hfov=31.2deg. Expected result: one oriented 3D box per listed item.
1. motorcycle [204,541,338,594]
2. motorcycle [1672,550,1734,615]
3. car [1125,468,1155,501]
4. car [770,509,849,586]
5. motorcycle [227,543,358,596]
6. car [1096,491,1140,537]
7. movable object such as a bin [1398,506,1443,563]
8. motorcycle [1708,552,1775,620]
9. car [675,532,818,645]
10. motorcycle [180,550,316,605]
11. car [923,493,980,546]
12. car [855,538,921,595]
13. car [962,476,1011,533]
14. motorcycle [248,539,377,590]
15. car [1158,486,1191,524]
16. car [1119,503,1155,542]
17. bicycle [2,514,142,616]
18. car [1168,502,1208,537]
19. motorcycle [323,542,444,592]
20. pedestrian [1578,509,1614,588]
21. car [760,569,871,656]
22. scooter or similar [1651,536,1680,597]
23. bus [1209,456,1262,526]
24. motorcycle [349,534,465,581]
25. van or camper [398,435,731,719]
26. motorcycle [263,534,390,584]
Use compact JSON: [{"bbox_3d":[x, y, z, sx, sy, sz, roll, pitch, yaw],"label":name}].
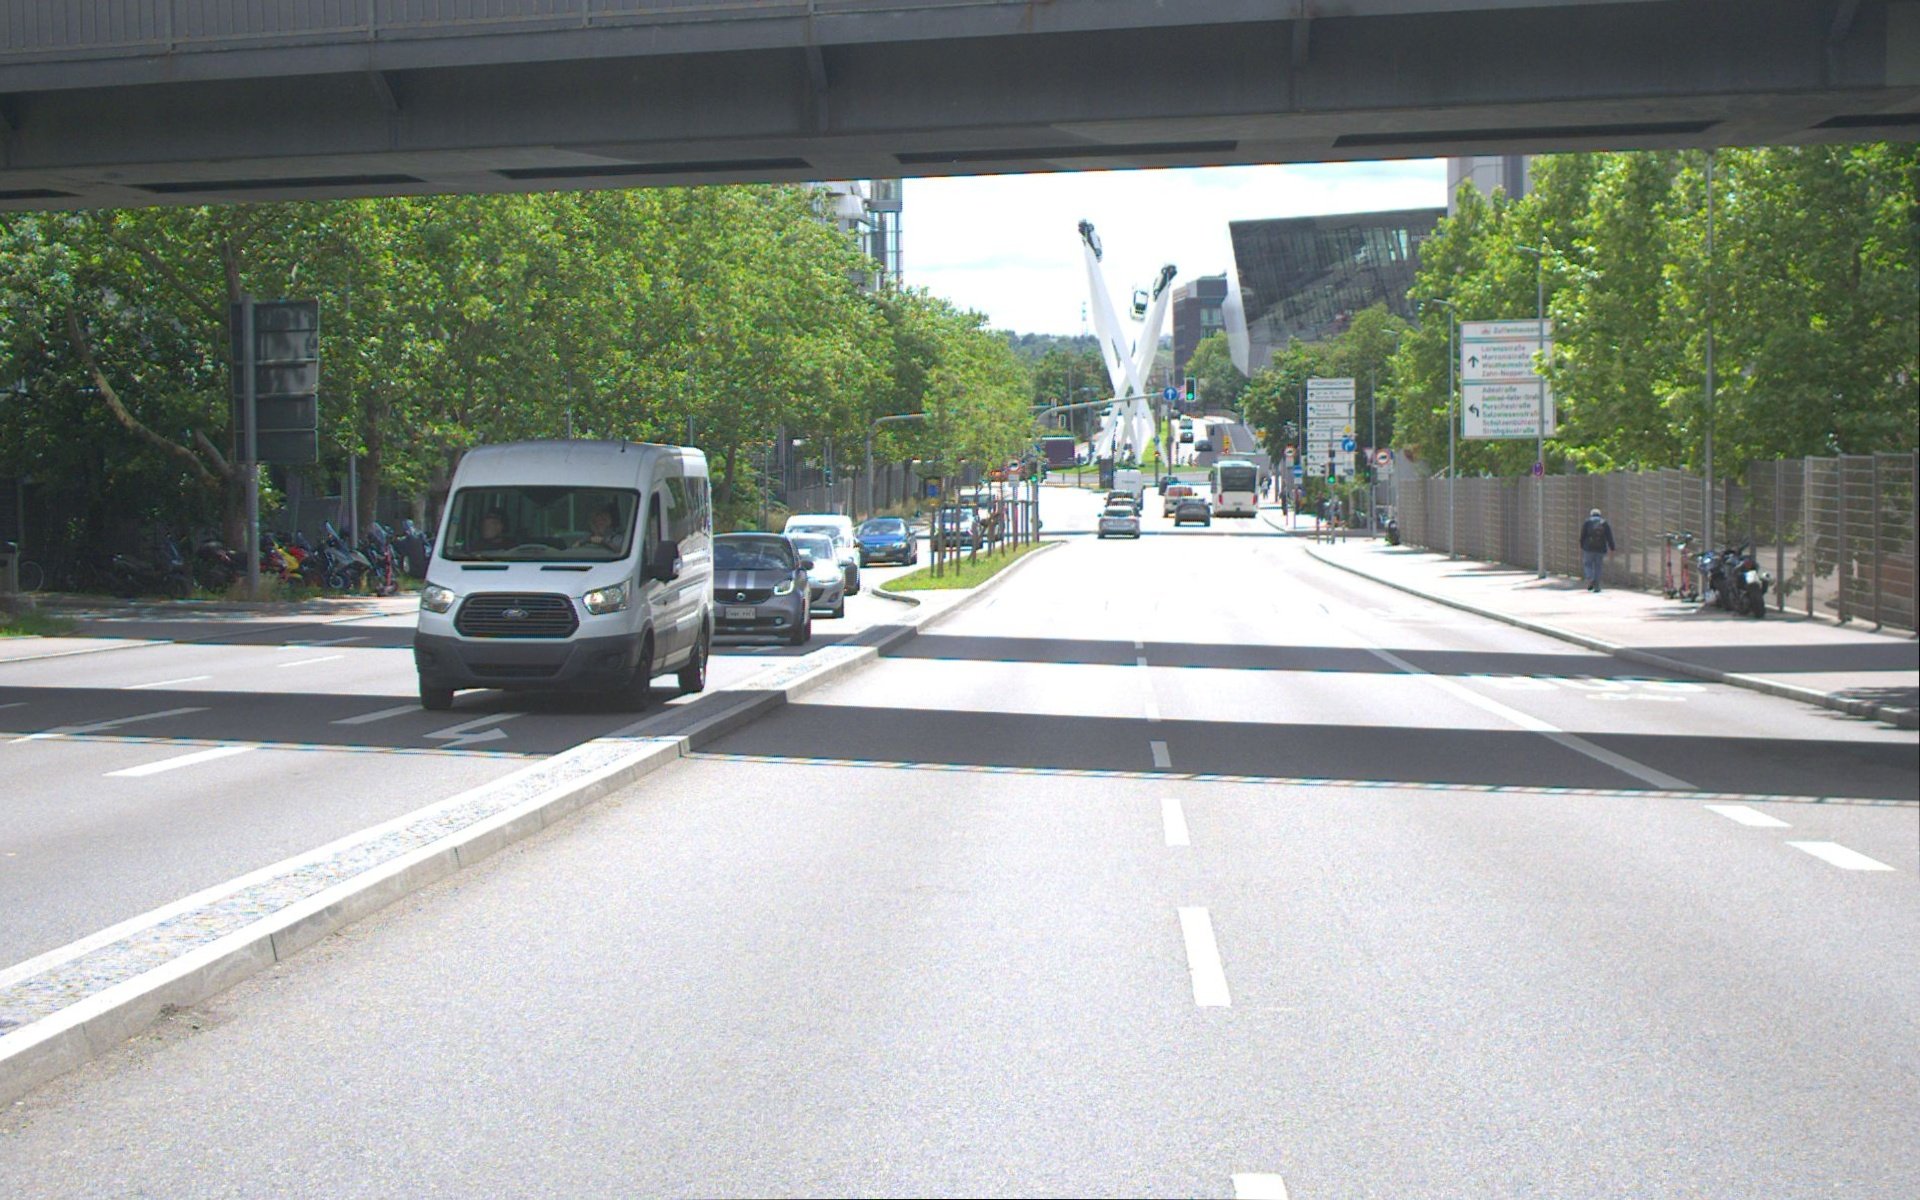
[{"bbox_3d":[-13.806,-0.647,68.905,2.553,1.047,0.674,0,1,9],"label":"motorcycle"},{"bbox_3d":[12.818,-0.310,59.379,0.563,1.025,2.629,-2,2,2],"label":"motorcycle"},{"bbox_3d":[11.906,-7.657,227.838,1.874,2.006,3.694,0,5,2],"label":"car"},{"bbox_3d":[-3.395,-1.204,78.226,1.700,1.692,3.925,0,1,-1],"label":"car"},{"bbox_3d":[-13.603,-0.623,70.078,2.553,1.047,0.674,0,1,9],"label":"motorcycle"},{"bbox_3d":[7.089,-3.863,153.768,1.930,1.765,4.001,0,5,3],"label":"car"},{"bbox_3d":[17.391,-2.475,129.862,1.665,2.125,1.278,0,1,8],"label":"movable object such as a bin"},{"bbox_3d":[12.756,-0.246,56.170,0.563,1.025,2.629,-2,2,2],"label":"motorcycle"},{"bbox_3d":[-2.930,-0.186,47.736,1.701,1.516,3.074,0,1,2],"label":"car"},{"bbox_3d":[-14.022,-0.445,67.698,2.553,1.047,0.674,0,1,9],"label":"motorcycle"},{"bbox_3d":[-0.323,-3.144,134.219,1.994,2.007,4.000,0,1,3],"label":"car"},{"bbox_3d":[-2.167,-1.028,104.829,1.701,1.692,3.924,0,1,3],"label":"car"},{"bbox_3d":[1.207,-4.310,154.452,1.994,2.247,4.327,0,6,3],"label":"car"},{"bbox_3d":[-13.423,-0.736,71.253,2.553,1.047,0.674,0,1,9],"label":"motorcycle"},{"bbox_3d":[13.005,-5.781,208.555,1.994,2.006,4.001,0,5,3],"label":"car"},{"bbox_3d":[9.575,-4.195,186.254,1.857,1.699,4.002,-1,7,1],"label":"car"},{"bbox_3d":[-19.030,-0.771,73.676,2.740,2.006,1.044,-3,6,-21],"label":"bicycle"},{"bbox_3d":[12.278,-4.357,185.002,1.993,1.853,4.000,0,1,2],"label":"car"},{"bbox_3d":[-12.975,-0.741,77.371,2.579,1.103,0.794,0,1,15],"label":"motorcycle"},{"bbox_3d":[13.534,-1.094,73.147,0.620,1.612,0.747,0,5,1],"label":"pedestrian"},{"bbox_3d":[-2.520,0.191,60.790,1.701,1.431,3.924,0,1,1],"label":"car"},{"bbox_3d":[13.606,-0.654,66.318,0.368,1.173,1.133,0,1,2],"label":"scooter or similar"},{"bbox_3d":[16.977,-6.791,212.198,2.796,3.739,9.471,0,5,2],"label":"bus"},{"bbox_3d":[-13.015,-1.008,80.905,2.579,1.103,0.794,0,1,15],"label":"motorcycle"},{"bbox_3d":[-3.554,-0.255,32.240,2.008,2.393,6.398,0,1,3],"label":"van or camper"},{"bbox_3d":[-13.387,-0.869,72.665,2.553,1.047,0.674,0,1,9],"label":"motorcycle"}]
